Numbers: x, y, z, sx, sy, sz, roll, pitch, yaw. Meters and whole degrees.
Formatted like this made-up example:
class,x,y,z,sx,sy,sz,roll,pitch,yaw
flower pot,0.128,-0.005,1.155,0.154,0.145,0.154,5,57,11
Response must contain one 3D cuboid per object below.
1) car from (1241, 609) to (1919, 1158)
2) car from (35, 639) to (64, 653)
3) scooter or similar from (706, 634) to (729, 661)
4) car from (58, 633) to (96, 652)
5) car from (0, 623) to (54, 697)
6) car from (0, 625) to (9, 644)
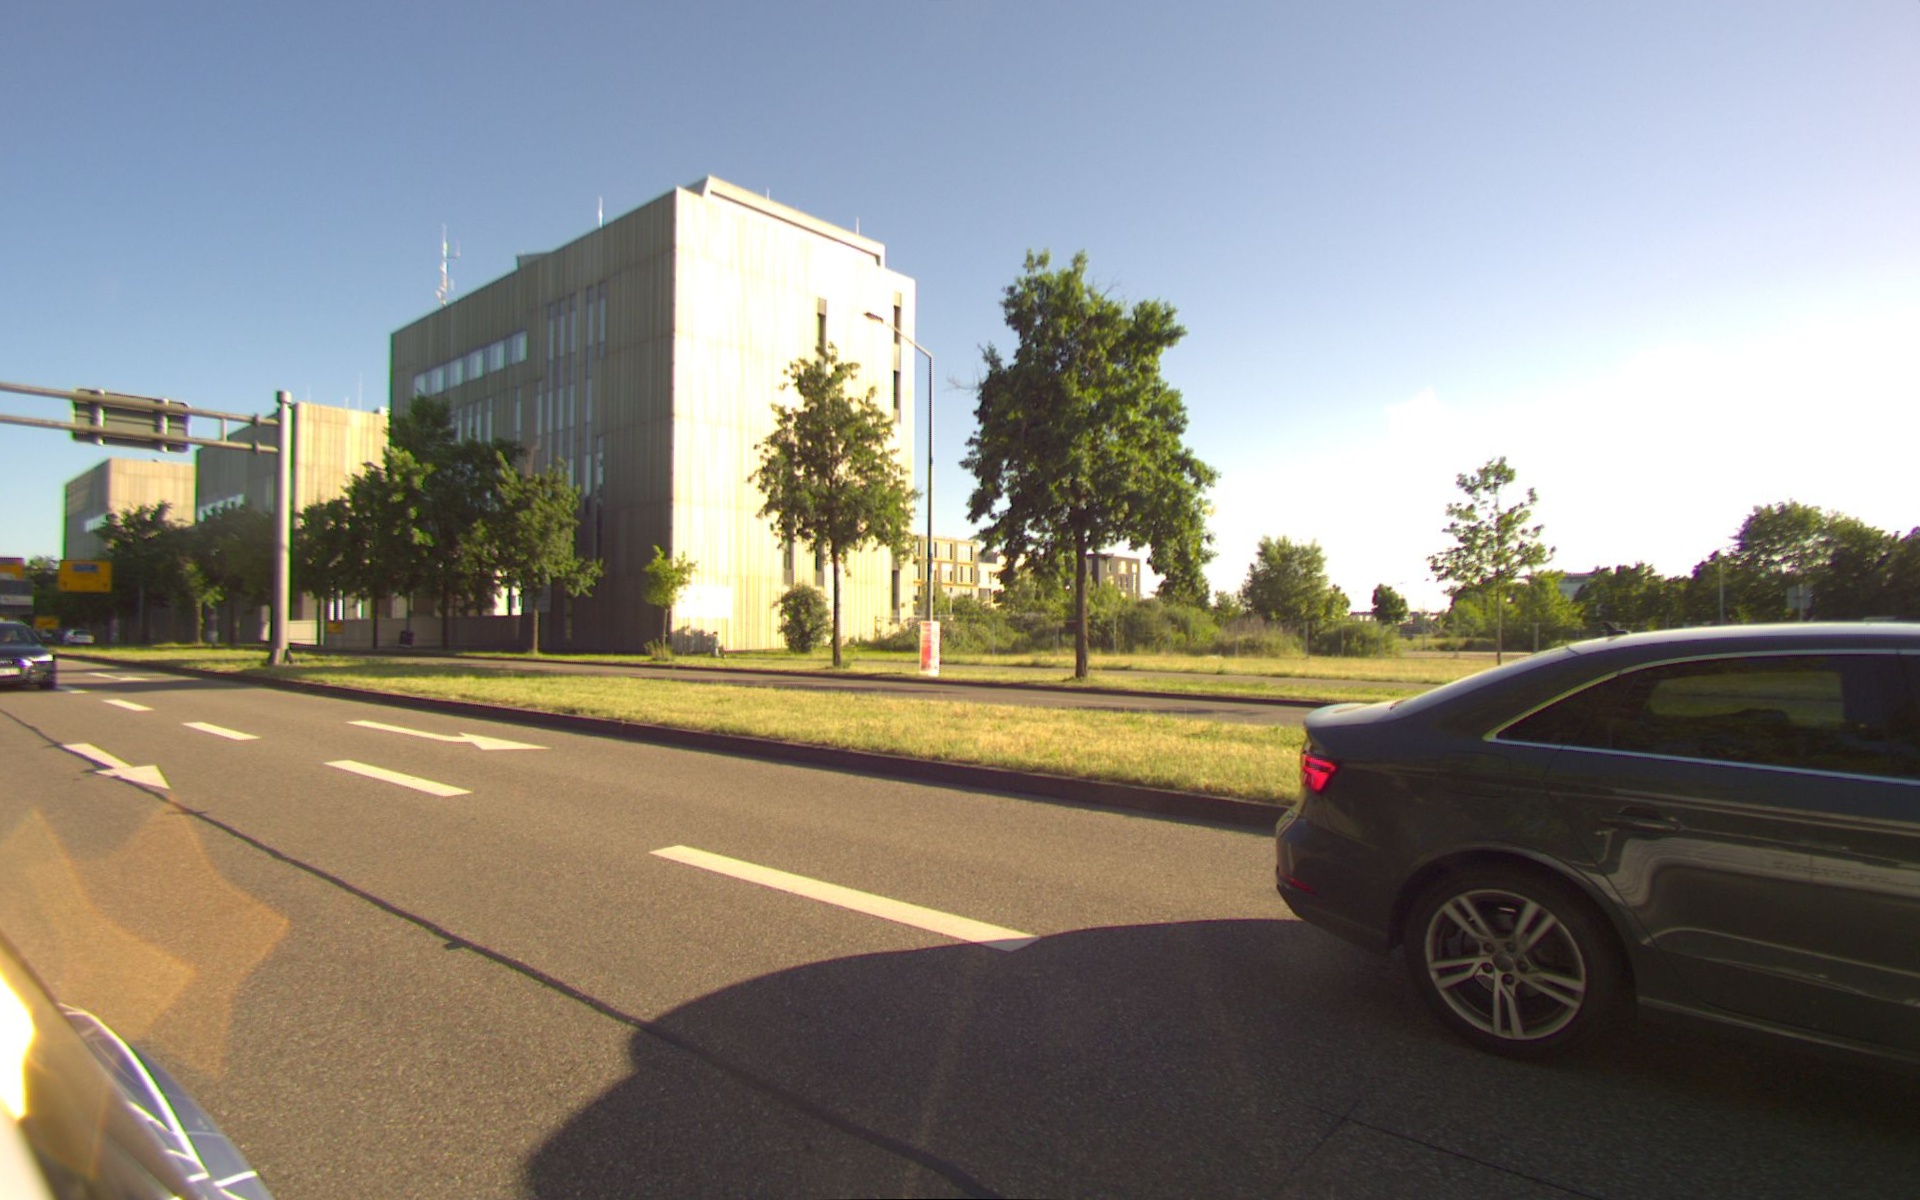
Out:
class,x,y,z,sx,sy,sz,roll,pitch,yaw
car,3.265,0.725,3.019,4.354,1.390,1.743,-1,-2,39
car,-105.062,5.255,116.796,3.998,1.590,1.973,-1,-3,41
scooter or similar,-10.331,2.031,43.144,0.446,1.118,1.409,2,-2,-35
car,-78.689,3.773,90.156,3.998,1.590,1.973,-1,-3,41
car,-20.709,1.219,21.354,5.015,1.454,1.774,-1,-2,41
car,-116.161,4.144,121.856,3.998,2.202,1.973,-1,-3,41
